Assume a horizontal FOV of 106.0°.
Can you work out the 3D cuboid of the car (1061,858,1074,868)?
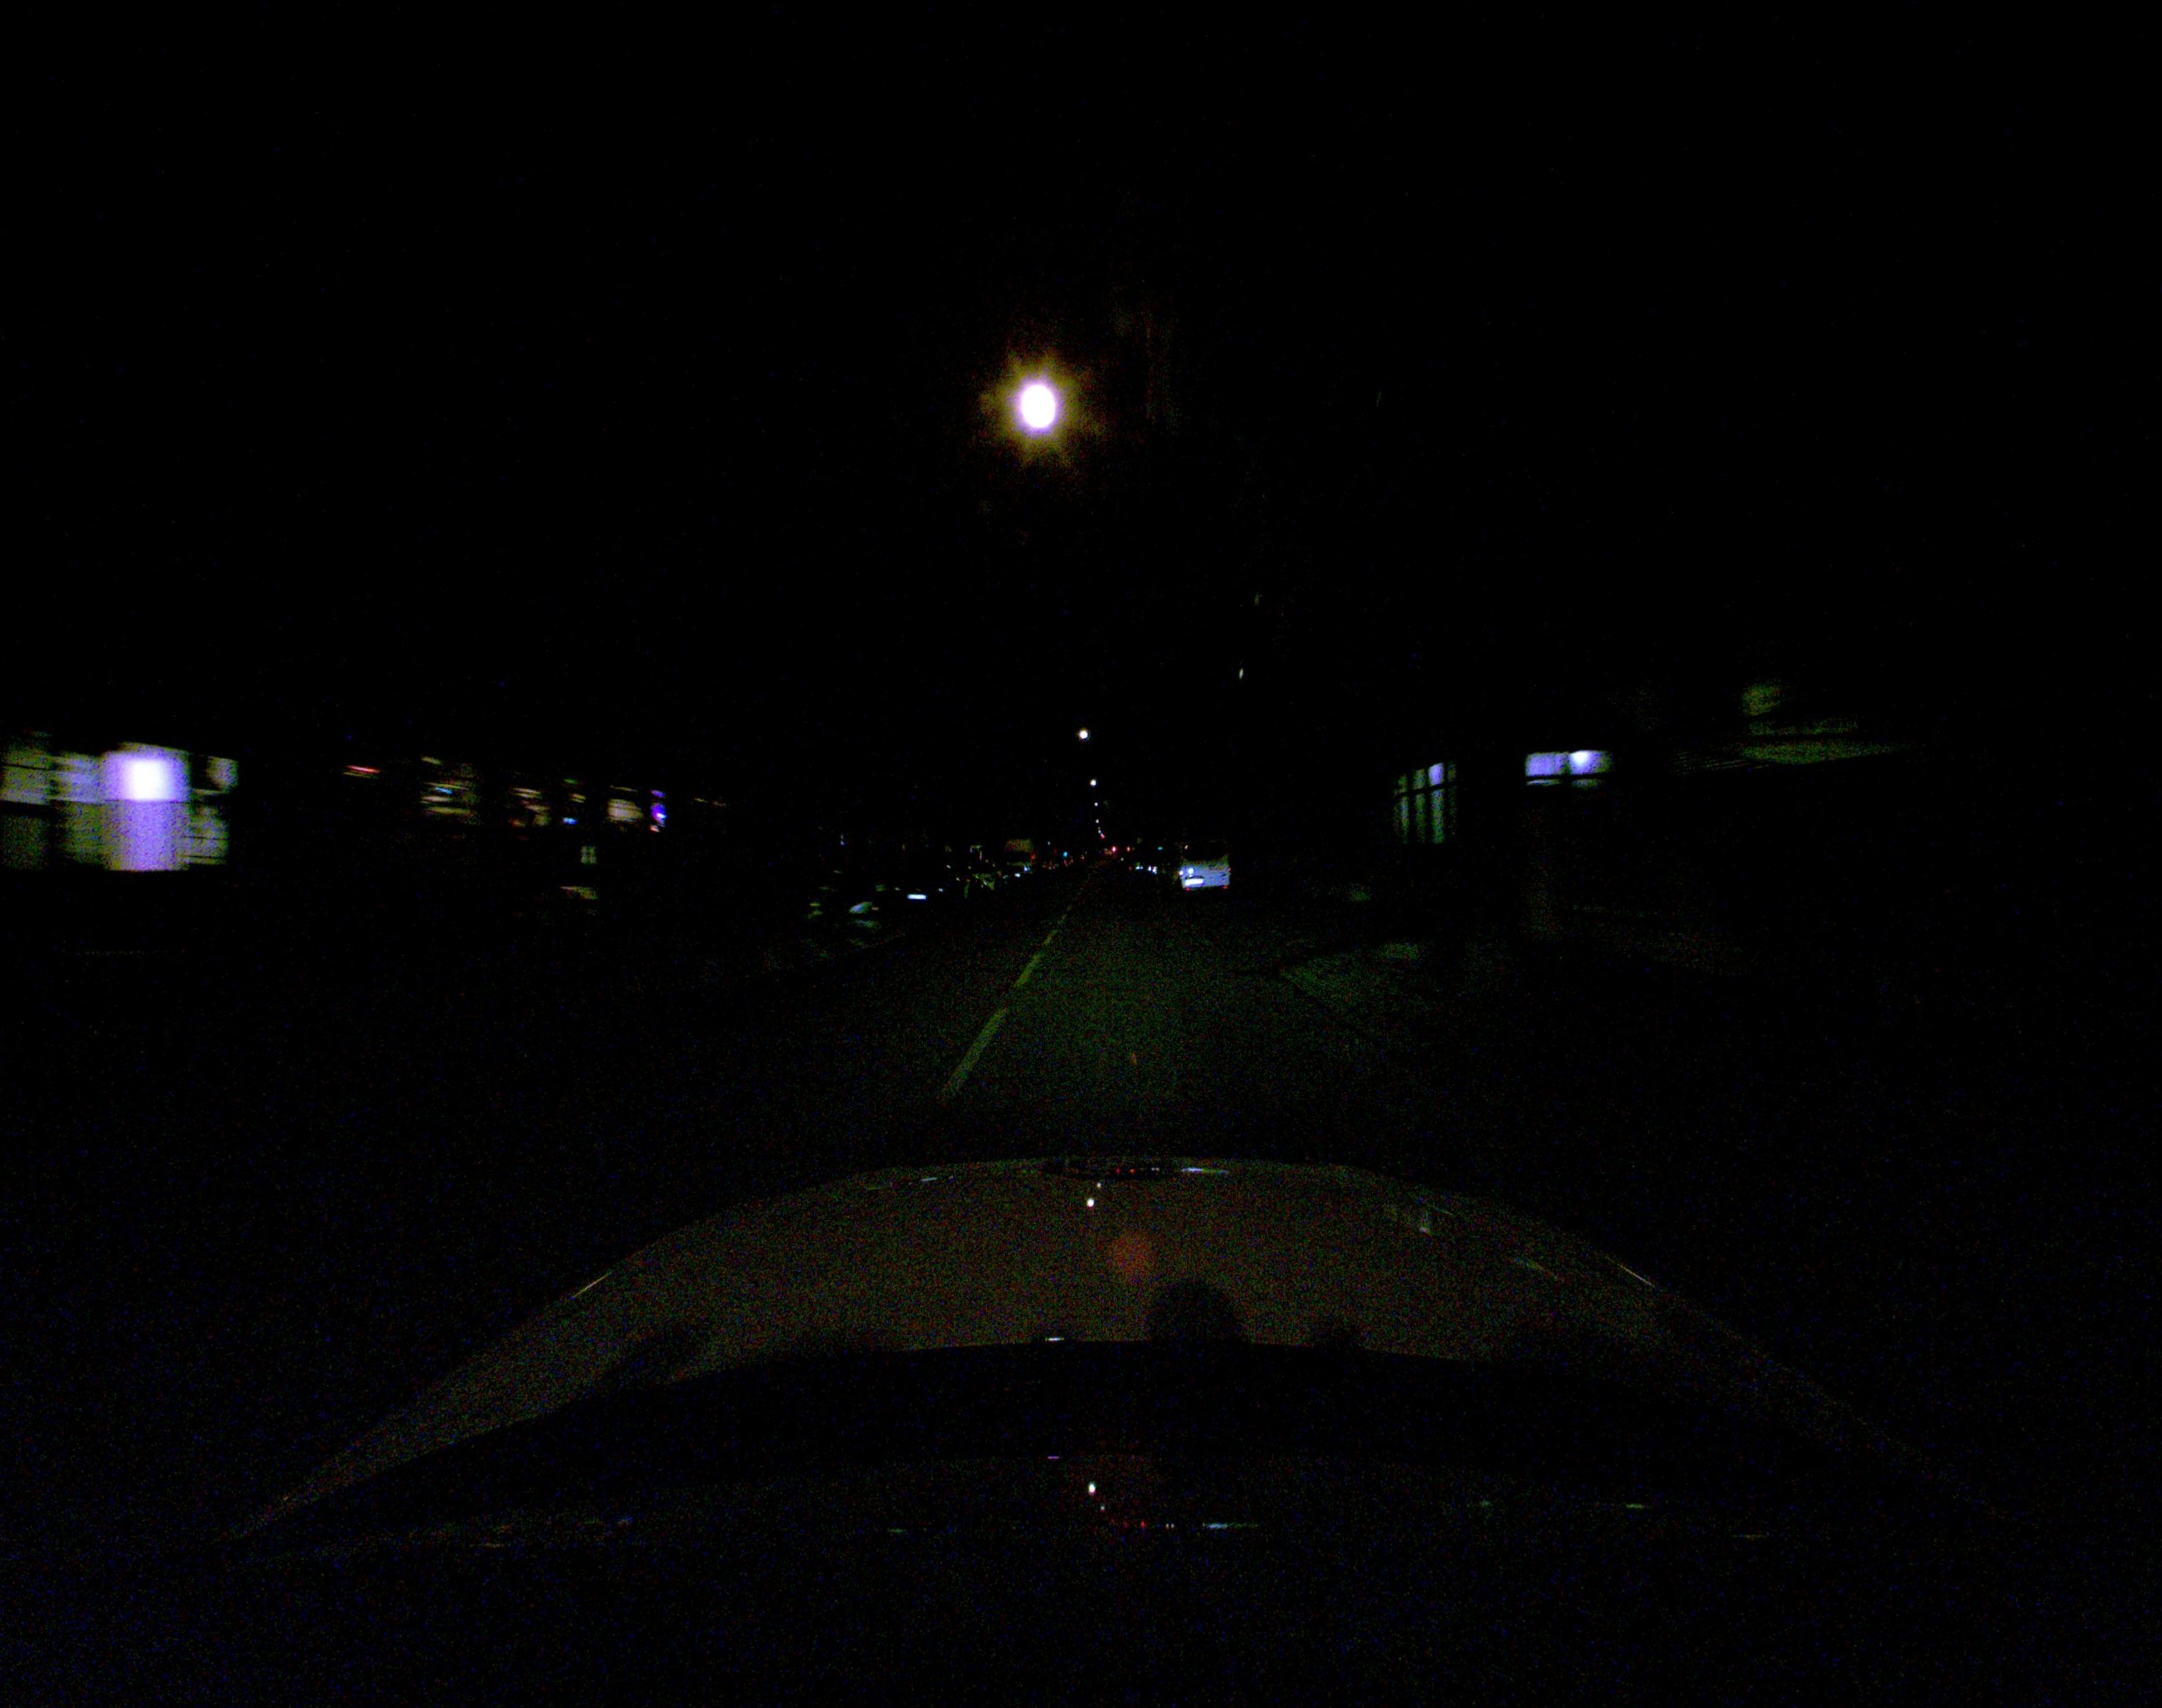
[{"bbox_3d":[-1.955,1.287,120.973,1.693,1.433,3.831,2,0,3],"label":"car"}]

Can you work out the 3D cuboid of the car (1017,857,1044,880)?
[{"bbox_3d":[-3.685,1.074,60.346,1.736,1.606,4.115,-1,-1,0],"label":"car"}]

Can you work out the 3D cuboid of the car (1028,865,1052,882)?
[{"bbox_3d":[-3.571,1.664,71.098,1.698,1.411,4.634,-1,0,1],"label":"car"}]

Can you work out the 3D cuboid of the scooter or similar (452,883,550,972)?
[{"bbox_3d":[-8.473,1.038,11.953,0.365,1.204,1.428,-2,-1,2],"label":"scooter or similar"}]

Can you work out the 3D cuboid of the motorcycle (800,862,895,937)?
[{"bbox_3d":[-4.979,0.953,17.392,1.907,1.550,0.635,1,-1,-18],"label":"motorcycle"}]

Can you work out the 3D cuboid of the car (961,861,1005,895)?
[{"bbox_3d":[-4.501,1.076,37.675,1.542,1.455,3.368,1,-1,1],"label":"car"}]

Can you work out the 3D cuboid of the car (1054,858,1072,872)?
[{"bbox_3d":[-2.164,1.300,98.795,1.815,1.599,4.075,2,0,3],"label":"car"}]

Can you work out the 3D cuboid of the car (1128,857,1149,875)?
[{"bbox_3d":[4.982,1.040,70.791,1.661,1.429,4.152,-3,-1,4],"label":"car"}]

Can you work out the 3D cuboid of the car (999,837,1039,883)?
[{"bbox_3d":[-4.105,0.415,54.652,2.171,2.909,4.910,0,-1,1],"label":"car"}]

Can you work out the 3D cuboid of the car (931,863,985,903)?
[{"bbox_3d":[-4.742,1.079,31.824,1.440,1.429,3.904,1,-1,1],"label":"car"}]

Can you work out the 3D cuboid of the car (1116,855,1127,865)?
[{"bbox_3d":[6.967,1.044,141.313,1.846,1.654,4.211,-1,0,2],"label":"car"}]

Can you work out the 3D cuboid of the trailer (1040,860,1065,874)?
[{"bbox_3d":[-2.922,1.315,84.006,2.102,1.335,5.438,1,-1,3],"label":"trailer"}]

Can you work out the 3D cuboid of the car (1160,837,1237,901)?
[{"bbox_3d":[4.018,0.519,28.623,1.944,1.964,4.603,-3,-1,0],"label":"car"}]

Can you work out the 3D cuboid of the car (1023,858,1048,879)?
[{"bbox_3d":[-3.660,1.138,65.694,1.736,1.606,4.297,-2,-1,0],"label":"car"}]

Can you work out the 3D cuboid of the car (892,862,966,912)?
[{"bbox_3d":[-4.905,1.040,26.777,1.637,1.504,3.904,1,-1,1],"label":"car"}]

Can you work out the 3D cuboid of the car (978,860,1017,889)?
[{"bbox_3d":[-4.445,1.089,43.803,1.640,1.505,3.861,0,-1,0],"label":"car"}]

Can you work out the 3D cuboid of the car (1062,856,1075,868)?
[{"bbox_3d":[-1.964,1.231,128.123,1.815,1.811,4.213,2,0,3],"label":"car"}]

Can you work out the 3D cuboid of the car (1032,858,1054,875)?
[{"bbox_3d":[-3.523,1.195,76.057,1.710,1.502,4.206,1,-1,1],"label":"car"}]
